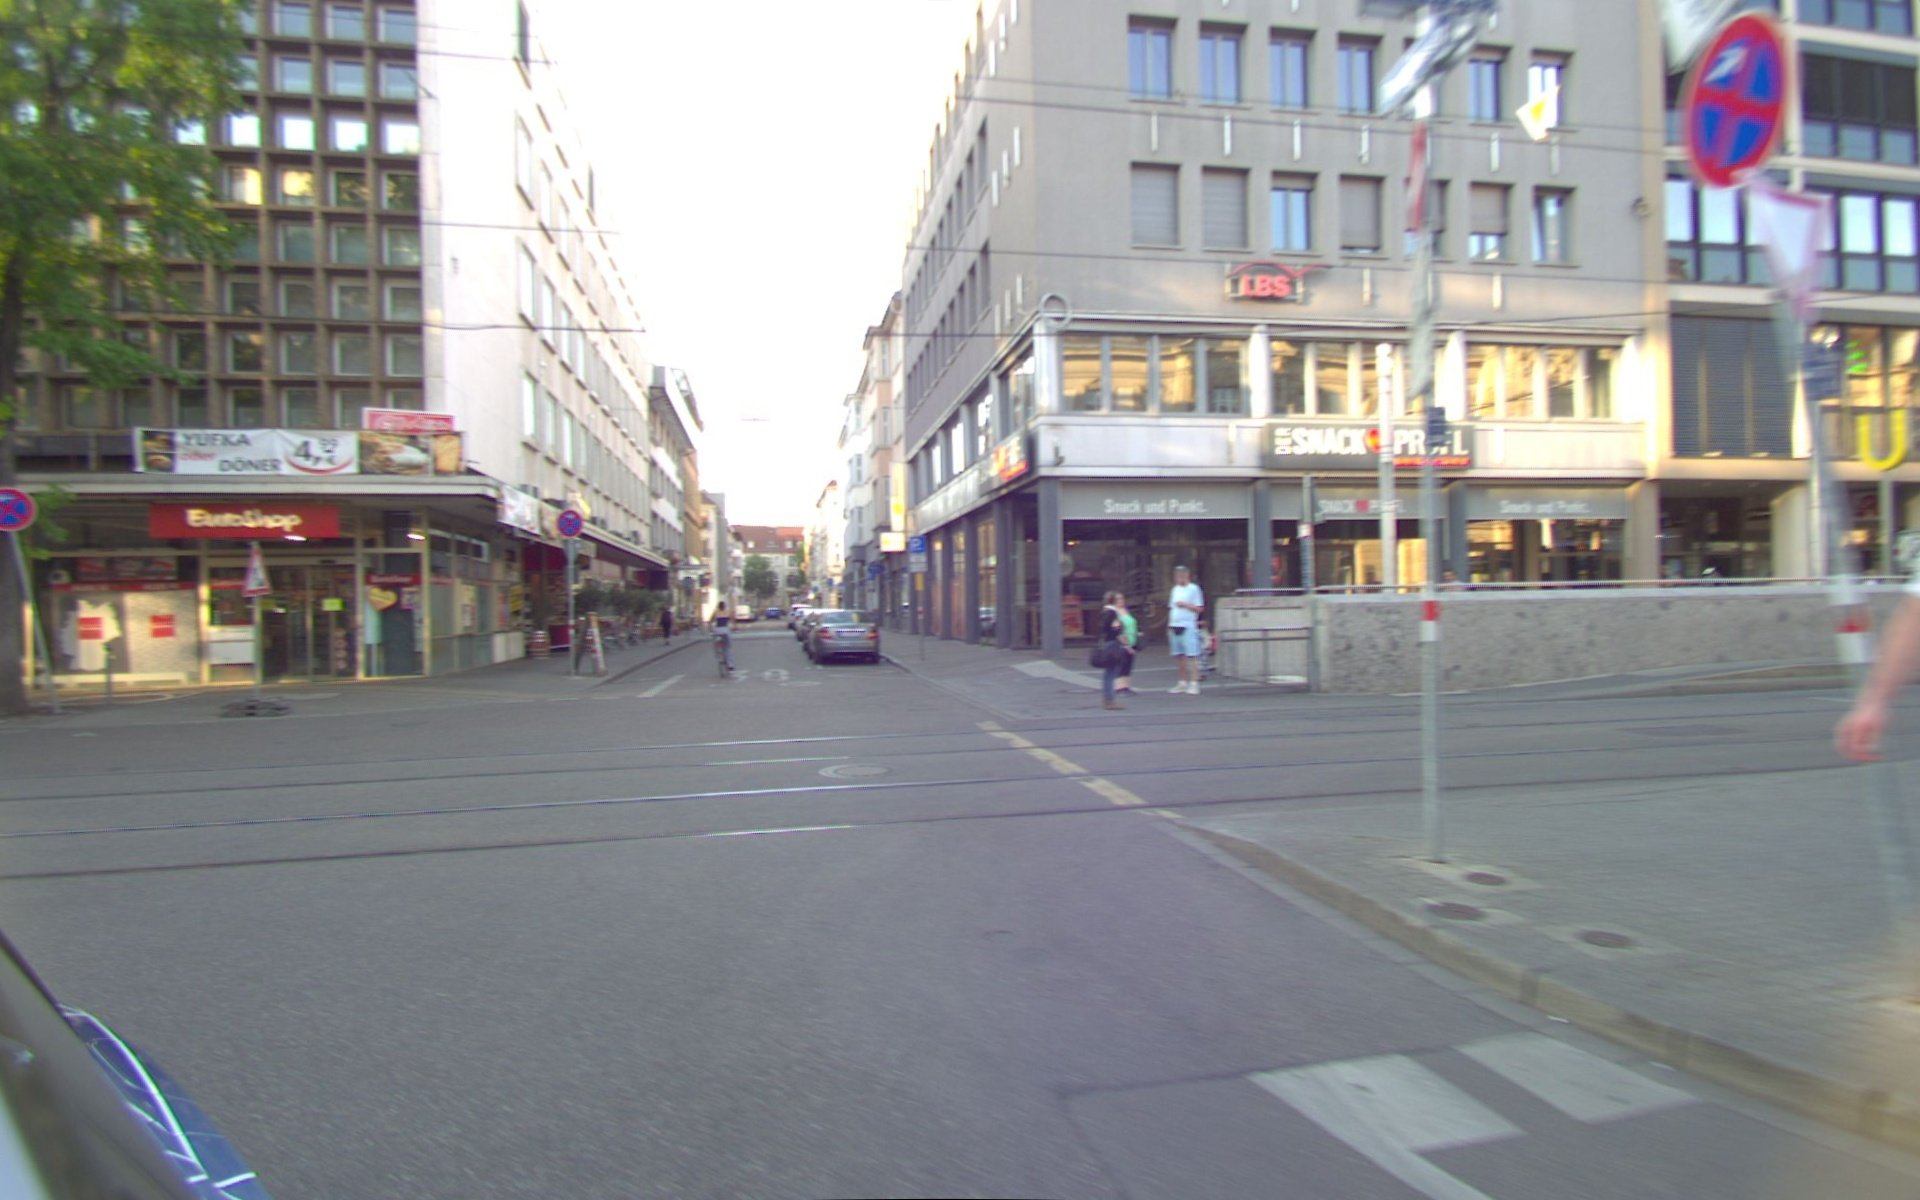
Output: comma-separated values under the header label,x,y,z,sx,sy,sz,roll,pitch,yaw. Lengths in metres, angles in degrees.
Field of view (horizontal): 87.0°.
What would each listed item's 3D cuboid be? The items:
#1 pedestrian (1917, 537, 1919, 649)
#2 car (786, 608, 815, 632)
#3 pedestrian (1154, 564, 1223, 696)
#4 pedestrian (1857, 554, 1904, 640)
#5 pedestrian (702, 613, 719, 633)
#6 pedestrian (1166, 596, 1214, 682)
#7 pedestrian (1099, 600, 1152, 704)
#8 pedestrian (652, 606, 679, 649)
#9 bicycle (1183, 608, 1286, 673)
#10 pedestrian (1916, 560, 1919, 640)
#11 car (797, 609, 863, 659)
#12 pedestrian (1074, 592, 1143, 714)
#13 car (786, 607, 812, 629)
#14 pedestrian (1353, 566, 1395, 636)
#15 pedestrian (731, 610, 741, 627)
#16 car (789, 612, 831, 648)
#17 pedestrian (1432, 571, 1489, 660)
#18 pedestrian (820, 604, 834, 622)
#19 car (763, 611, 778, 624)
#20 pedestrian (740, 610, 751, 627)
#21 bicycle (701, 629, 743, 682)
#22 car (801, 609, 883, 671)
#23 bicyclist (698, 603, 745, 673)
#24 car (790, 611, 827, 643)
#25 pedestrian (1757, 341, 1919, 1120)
label,x,y,z,sx,sy,sz,roll,pitch,yaw
pedestrian,16.953,-0.131,17.191,0.697,1.939,0.718,0,-1,-15
car,-10.426,1.287,66.075,1.771,1.522,4.008,-1,0,-9
pedestrian,3.446,0.440,15.311,0.697,1.941,0.778,0,-1,-18
pedestrian,18.994,-0.055,20.893,0.627,1.738,0.598,-1,-1,37
pedestrian,-21.887,1.984,88.827,1.279,1.674,1.016,-2,0,-8
pedestrian,3.972,0.664,17.486,0.682,1.445,0.550,-1,-1,28
pedestrian,2.469,0.759,15.110,0.546,1.505,0.607,0,-1,-18
pedestrian,-11.852,1.083,40.716,0.857,1.674,0.932,-2,0,-7
bicycle,5.212,0.762,19.249,1.773,1.116,0.501,-3,0,-5
pedestrian,19.536,0.000,20.150,0.627,1.600,0.597,-1,-1,38
car,-4.365,1.058,33.454,1.770,1.522,4.144,-1,0,-13
pedestrian,1.969,0.682,13.388,0.685,1.553,0.598,-1,-1,38
car,-11.481,1.276,72.234,1.771,1.522,4.008,-1,0,-9
pedestrian,10.569,0.030,25.857,0.698,1.738,0.717,-1,-1,-12
pedestrian,-23.052,1.892,104.127,0.857,1.674,0.933,-2,0,-10
car,-6.839,1.322,45.974,1.771,1.522,4.008,-1,0,-9
pedestrian,10.023,0.312,20.302,0.698,1.738,0.717,-1,-1,-12
pedestrian,-12.557,1.244,95.462,0.916,1.674,0.872,-2,0,-42
car,-24.590,2.258,131.306,1.771,1.522,4.008,-1,0,-9
pedestrian,-22.091,1.873,104.223,0.962,1.674,0.980,-2,0,-10
bicycle,-5.366,1.225,22.887,0.804,1.081,2.118,-1,0,-11
car,-3.287,1.019,27.550,1.770,1.522,4.144,-1,0,-13
bicyclist,-5.382,0.837,22.896,0.984,1.513,0.859,-1,0,-10
car,-7.687,1.312,51.296,1.771,1.522,4.008,-1,0,-9
pedestrian,2.847,0.308,2.470,1.024,1.877,1.020,-1,0,-23
